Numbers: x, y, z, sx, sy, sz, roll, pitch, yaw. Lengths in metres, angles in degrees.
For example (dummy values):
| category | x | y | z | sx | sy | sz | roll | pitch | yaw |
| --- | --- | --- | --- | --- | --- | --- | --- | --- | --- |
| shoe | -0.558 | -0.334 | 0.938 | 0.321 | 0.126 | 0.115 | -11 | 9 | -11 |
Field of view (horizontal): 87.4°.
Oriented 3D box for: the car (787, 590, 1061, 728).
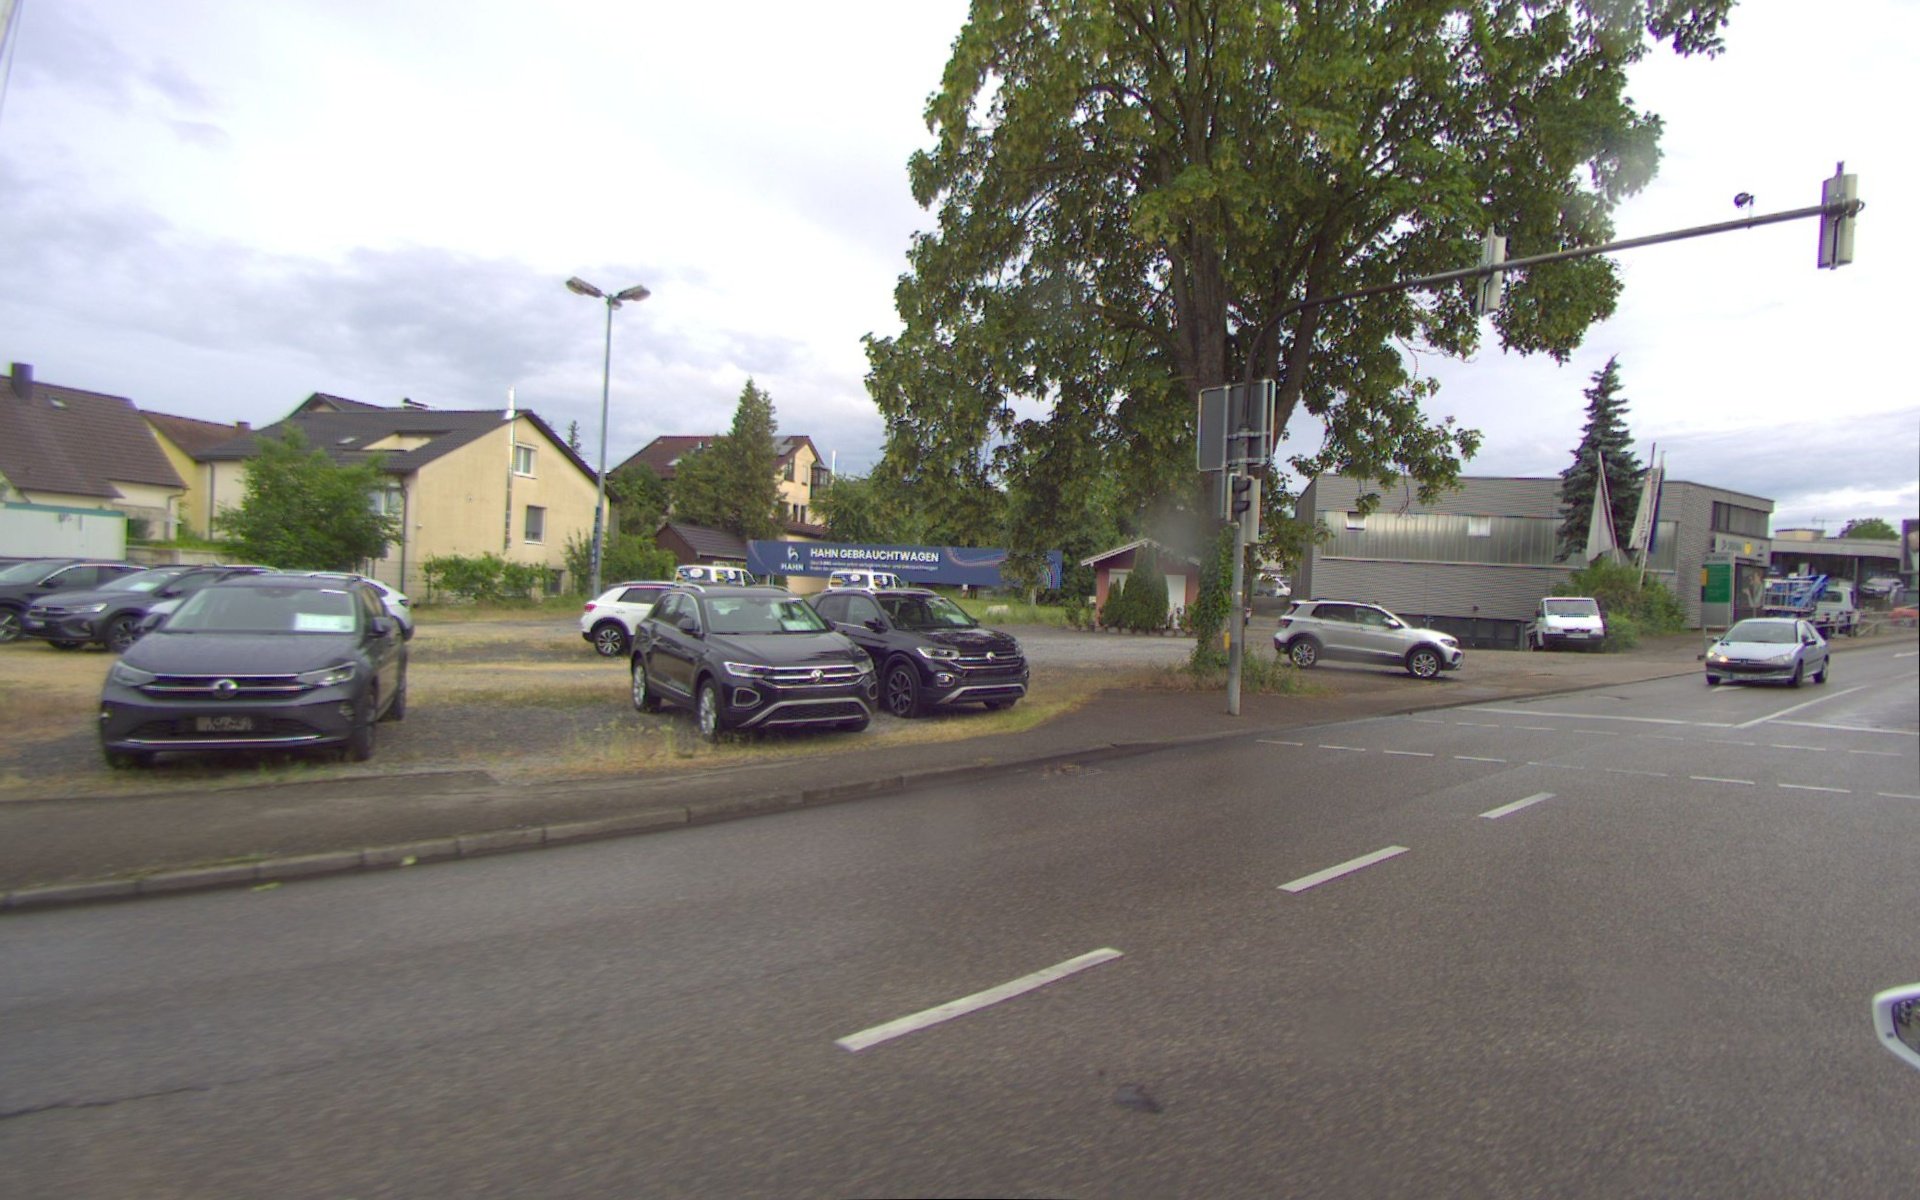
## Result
| category | x | y | z | sx | sy | sz | roll | pitch | yaw |
| --- | --- | --- | --- | --- | --- | --- | --- | --- | --- |
| car | -0.627 | 0.675 | 13.763 | 1.742 | 1.530 | 3.955 | 0 | 1 | -39 |

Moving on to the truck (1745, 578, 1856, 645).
| category | x | y | z | sx | sy | sz | roll | pitch | yaw |
| --- | --- | --- | --- | --- | --- | --- | --- | --- | --- |
| truck | 34.539 | 0.424 | 41.240 | 5.501 | 2.573 | 1.981 | 0 | 2 | -34 |

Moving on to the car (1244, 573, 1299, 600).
| category | x | y | z | sx | sy | sz | roll | pitch | yaw |
| --- | --- | --- | --- | --- | --- | --- | --- | --- | --- |
| car | 28.551 | -1.233 | 92.030 | 4.570 | 2.336 | 2.239 | 3 | 1 | 21 |

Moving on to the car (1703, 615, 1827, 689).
| category | x | y | z | sx | sy | sz | roll | pitch | yaw |
| --- | --- | --- | --- | --- | --- | --- | --- | --- | --- |
| car | 18.045 | 1.094 | 22.474 | 3.679 | 1.423 | 1.572 | 0 | 2 | -42 |

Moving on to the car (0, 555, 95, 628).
| category | x | y | z | sx | sy | sz | roll | pitch | yaw |
| --- | --- | --- | --- | --- | --- | --- | --- | --- | --- |
| car | -19.725 | -0.187 | 19.879 | 1.561 | 1.447 | 3.643 | 2 | 1 | 21 |

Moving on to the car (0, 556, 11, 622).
| category | x | y | z | sx | sy | sz | roll | pitch | yaw |
| --- | --- | --- | --- | --- | --- | --- | --- | --- | --- |
| car | -22.329 | -0.241 | 20.754 | 1.561 | 1.447 | 3.643 | 2 | 1 | 21 |

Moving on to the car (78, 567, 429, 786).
| category | x | y | z | sx | sy | sz | roll | pitch | yaw |
| --- | --- | --- | --- | --- | --- | --- | --- | --- | --- |
| car | -6.019 | 0.536 | 9.096 | 1.732 | 1.510 | 3.961 | 0 | 0 | -22 |

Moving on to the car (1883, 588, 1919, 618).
| category | x | y | z | sx | sy | sz | roll | pitch | yaw |
| --- | --- | --- | --- | --- | --- | --- | --- | --- | --- |
| car | 55.831 | 0.239 | 57.111 | 1.799 | 1.645 | 4.719 | 1 | 1 | -38 |

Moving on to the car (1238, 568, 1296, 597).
| category | x | y | z | sx | sy | sz | roll | pitch | yaw |
| --- | --- | --- | --- | --- | --- | --- | --- | --- | --- |
| car | 26.934 | -1.499 | 88.103 | 4.570 | 2.336 | 2.047 | 3 | 1 | 21 |

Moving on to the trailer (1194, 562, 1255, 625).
| category | x | y | z | sx | sy | sz | roll | pitch | yaw |
| --- | --- | --- | --- | --- | --- | --- | --- | --- | --- |
| trailer | 12.835 | -0.327 | 49.033 | 2.565 | 2.800 | 5.029 | 2 | 1 | 12 |

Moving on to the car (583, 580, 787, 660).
| category | x | y | z | sx | sy | sz | roll | pitch | yaw |
| --- | --- | --- | --- | --- | --- | --- | --- | --- | --- |
| car | -5.896 | 0.398 | 21.805 | 3.920 | 1.576 | 1.713 | 1 | 1 | 3 |

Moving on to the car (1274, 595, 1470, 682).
| category | x | y | z | sx | sy | sz | roll | pitch | yaw |
| --- | --- | --- | --- | --- | --- | --- | --- | --- | --- |
| car | 9.344 | 0.821 | 23.081 | 3.921 | 1.542 | 1.760 | 5 | 2 | 19 |

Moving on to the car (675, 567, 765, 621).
| category | x | y | z | sx | sy | sz | roll | pitch | yaw |
| --- | --- | --- | --- | --- | --- | --- | --- | --- | --- |
| car | -9.422 | -0.270 | 39.755 | 1.688 | 2.000 | 4.195 | 1 | 1 | 14 |

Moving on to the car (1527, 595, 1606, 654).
| category | x | y | z | sx | sy | sz | roll | pitch | yaw |
| --- | --- | --- | --- | --- | --- | --- | --- | --- | --- |
| car | 22.678 | 0.851 | 37.710 | 1.962 | 2.021 | 3.997 | 2 | 1 | 24 |

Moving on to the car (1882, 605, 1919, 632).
| category | x | y | z | sx | sy | sz | roll | pitch | yaw |
| --- | --- | --- | --- | --- | --- | --- | --- | --- | --- |
| car | 53.414 | 1.090 | 55.252 | 3.943 | 1.394 | 1.804 | 3 | 1 | 43 |

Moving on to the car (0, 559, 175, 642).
| category | x | y | z | sx | sy | sz | roll | pitch | yaw |
| --- | --- | --- | --- | --- | --- | --- | --- | --- | --- |
| car | -17.242 | -0.029 | 18.962 | 1.560 | 1.447 | 3.646 | 1 | 1 | 14 |

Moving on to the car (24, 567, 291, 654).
| category | x | y | z | sx | sy | sz | roll | pitch | yaw |
| --- | --- | --- | --- | --- | --- | --- | --- | --- | --- |
| car | -14.380 | 0.142 | 18.264 | 1.487 | 1.393 | 3.646 | 1 | 1 | 14 |

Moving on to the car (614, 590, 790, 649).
| category | x | y | z | sx | sy | sz | roll | pitch | yaw |
| --- | --- | --- | --- | --- | --- | --- | --- | --- | --- |
| car | -6.403 | 0.453 | 25.162 | 3.920 | 1.331 | 1.713 | 1 | 1 | 3 |

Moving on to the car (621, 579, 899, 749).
| category | x | y | z | sx | sy | sz | roll | pitch | yaw |
| --- | --- | --- | --- | --- | --- | --- | --- | --- | --- |
| car | -2.438 | 0.602 | 11.461 | 1.739 | 1.576 | 3.962 | 0 | 0 | -34 |

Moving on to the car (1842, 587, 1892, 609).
| category | x | y | z | sx | sy | sz | roll | pitch | yaw |
| --- | --- | --- | --- | --- | --- | --- | --- | --- | --- |
| car | 71.369 | -0.157 | 79.021 | 3.948 | 1.535 | 1.586 | 2 | 1 | -26 |

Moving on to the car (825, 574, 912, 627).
| category | x | y | z | sx | sy | sz | roll | pitch | yaw |
| --- | --- | --- | --- | --- | --- | --- | --- | --- | --- |
| car | -3.412 | -0.021 | 38.458 | 1.959 | 1.896 | 4.453 | 1 | 1 | 13 |

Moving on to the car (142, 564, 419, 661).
| category | x | y | z | sx | sy | sz | roll | pitch | yaw |
| --- | --- | --- | --- | --- | --- | --- | --- | --- | --- |
| car | -11.698 | 0.269 | 17.612 | 1.559 | 1.483 | 3.774 | 1 | -2 | 20 |
